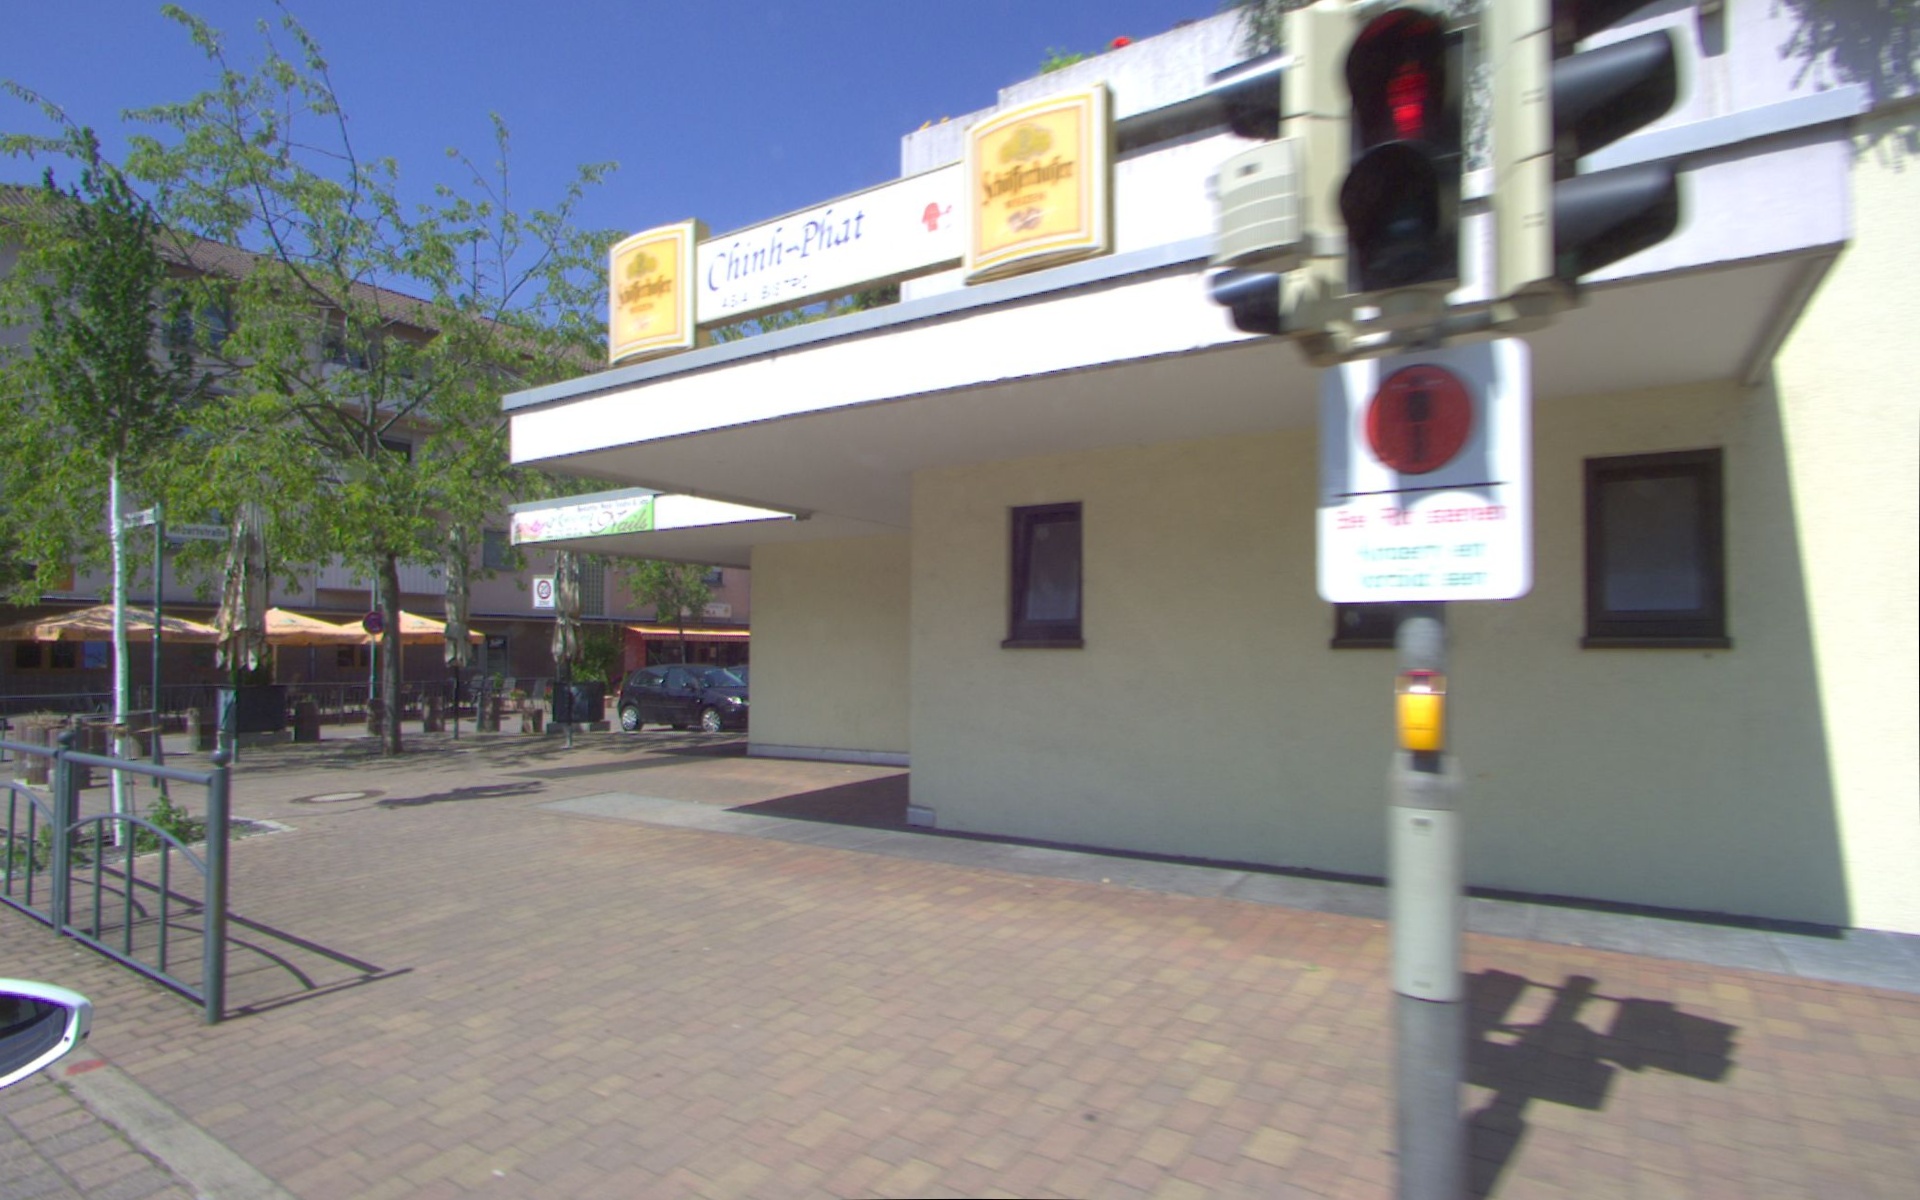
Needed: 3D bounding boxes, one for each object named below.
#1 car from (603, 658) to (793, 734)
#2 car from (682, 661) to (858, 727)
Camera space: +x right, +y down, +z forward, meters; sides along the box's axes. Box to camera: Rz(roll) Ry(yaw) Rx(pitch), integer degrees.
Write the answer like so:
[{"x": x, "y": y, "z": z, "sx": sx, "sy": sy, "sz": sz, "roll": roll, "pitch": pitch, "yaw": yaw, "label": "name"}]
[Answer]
[{"x": -5.734, "y": 2.040, "z": 21.868, "sx": 3.913, "sy": 1.528, "sz": 1.765, "roll": -2, "pitch": -4, "yaw": 30, "label": "car"}, {"x": -4.616, "y": 2.250, "z": 24.212, "sx": 4.052, "sy": 1.449, "sz": 1.776, "roll": -3, "pitch": -3, "yaw": 31, "label": "car"}]
